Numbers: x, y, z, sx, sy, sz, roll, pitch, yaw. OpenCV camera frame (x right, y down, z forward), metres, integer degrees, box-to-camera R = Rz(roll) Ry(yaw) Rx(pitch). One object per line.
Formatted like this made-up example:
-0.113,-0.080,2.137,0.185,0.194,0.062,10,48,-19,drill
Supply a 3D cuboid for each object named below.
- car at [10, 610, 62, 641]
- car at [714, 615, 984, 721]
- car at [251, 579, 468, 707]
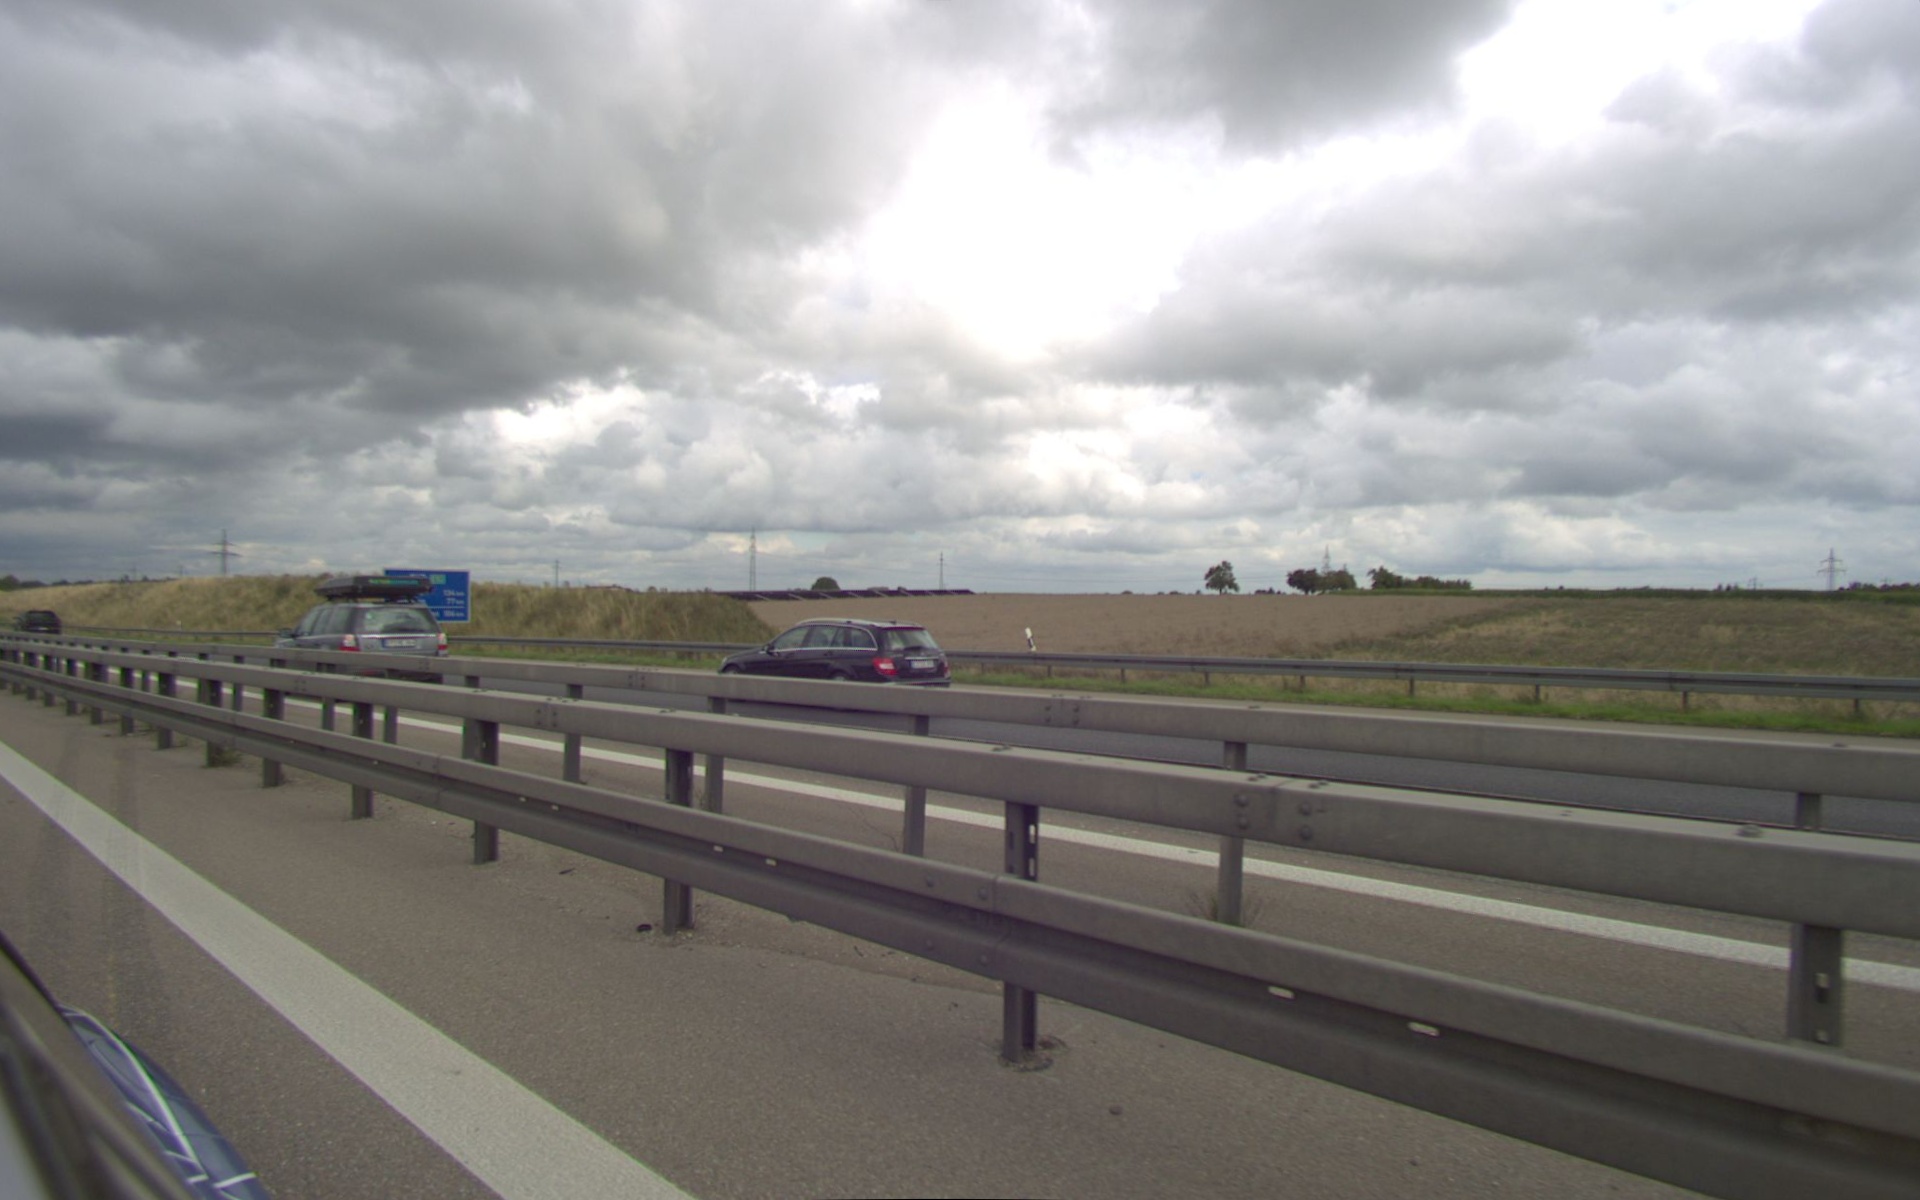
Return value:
-64.450,1.763,70.529,6.098,2.029,1.973,-1,-1,41,car
-1.930,1.022,16.611,4.556,1.479,1.738,-1,-1,40,car
-10.839,0.712,18.152,4.379,2.029,1.974,-1,-1,39,car
